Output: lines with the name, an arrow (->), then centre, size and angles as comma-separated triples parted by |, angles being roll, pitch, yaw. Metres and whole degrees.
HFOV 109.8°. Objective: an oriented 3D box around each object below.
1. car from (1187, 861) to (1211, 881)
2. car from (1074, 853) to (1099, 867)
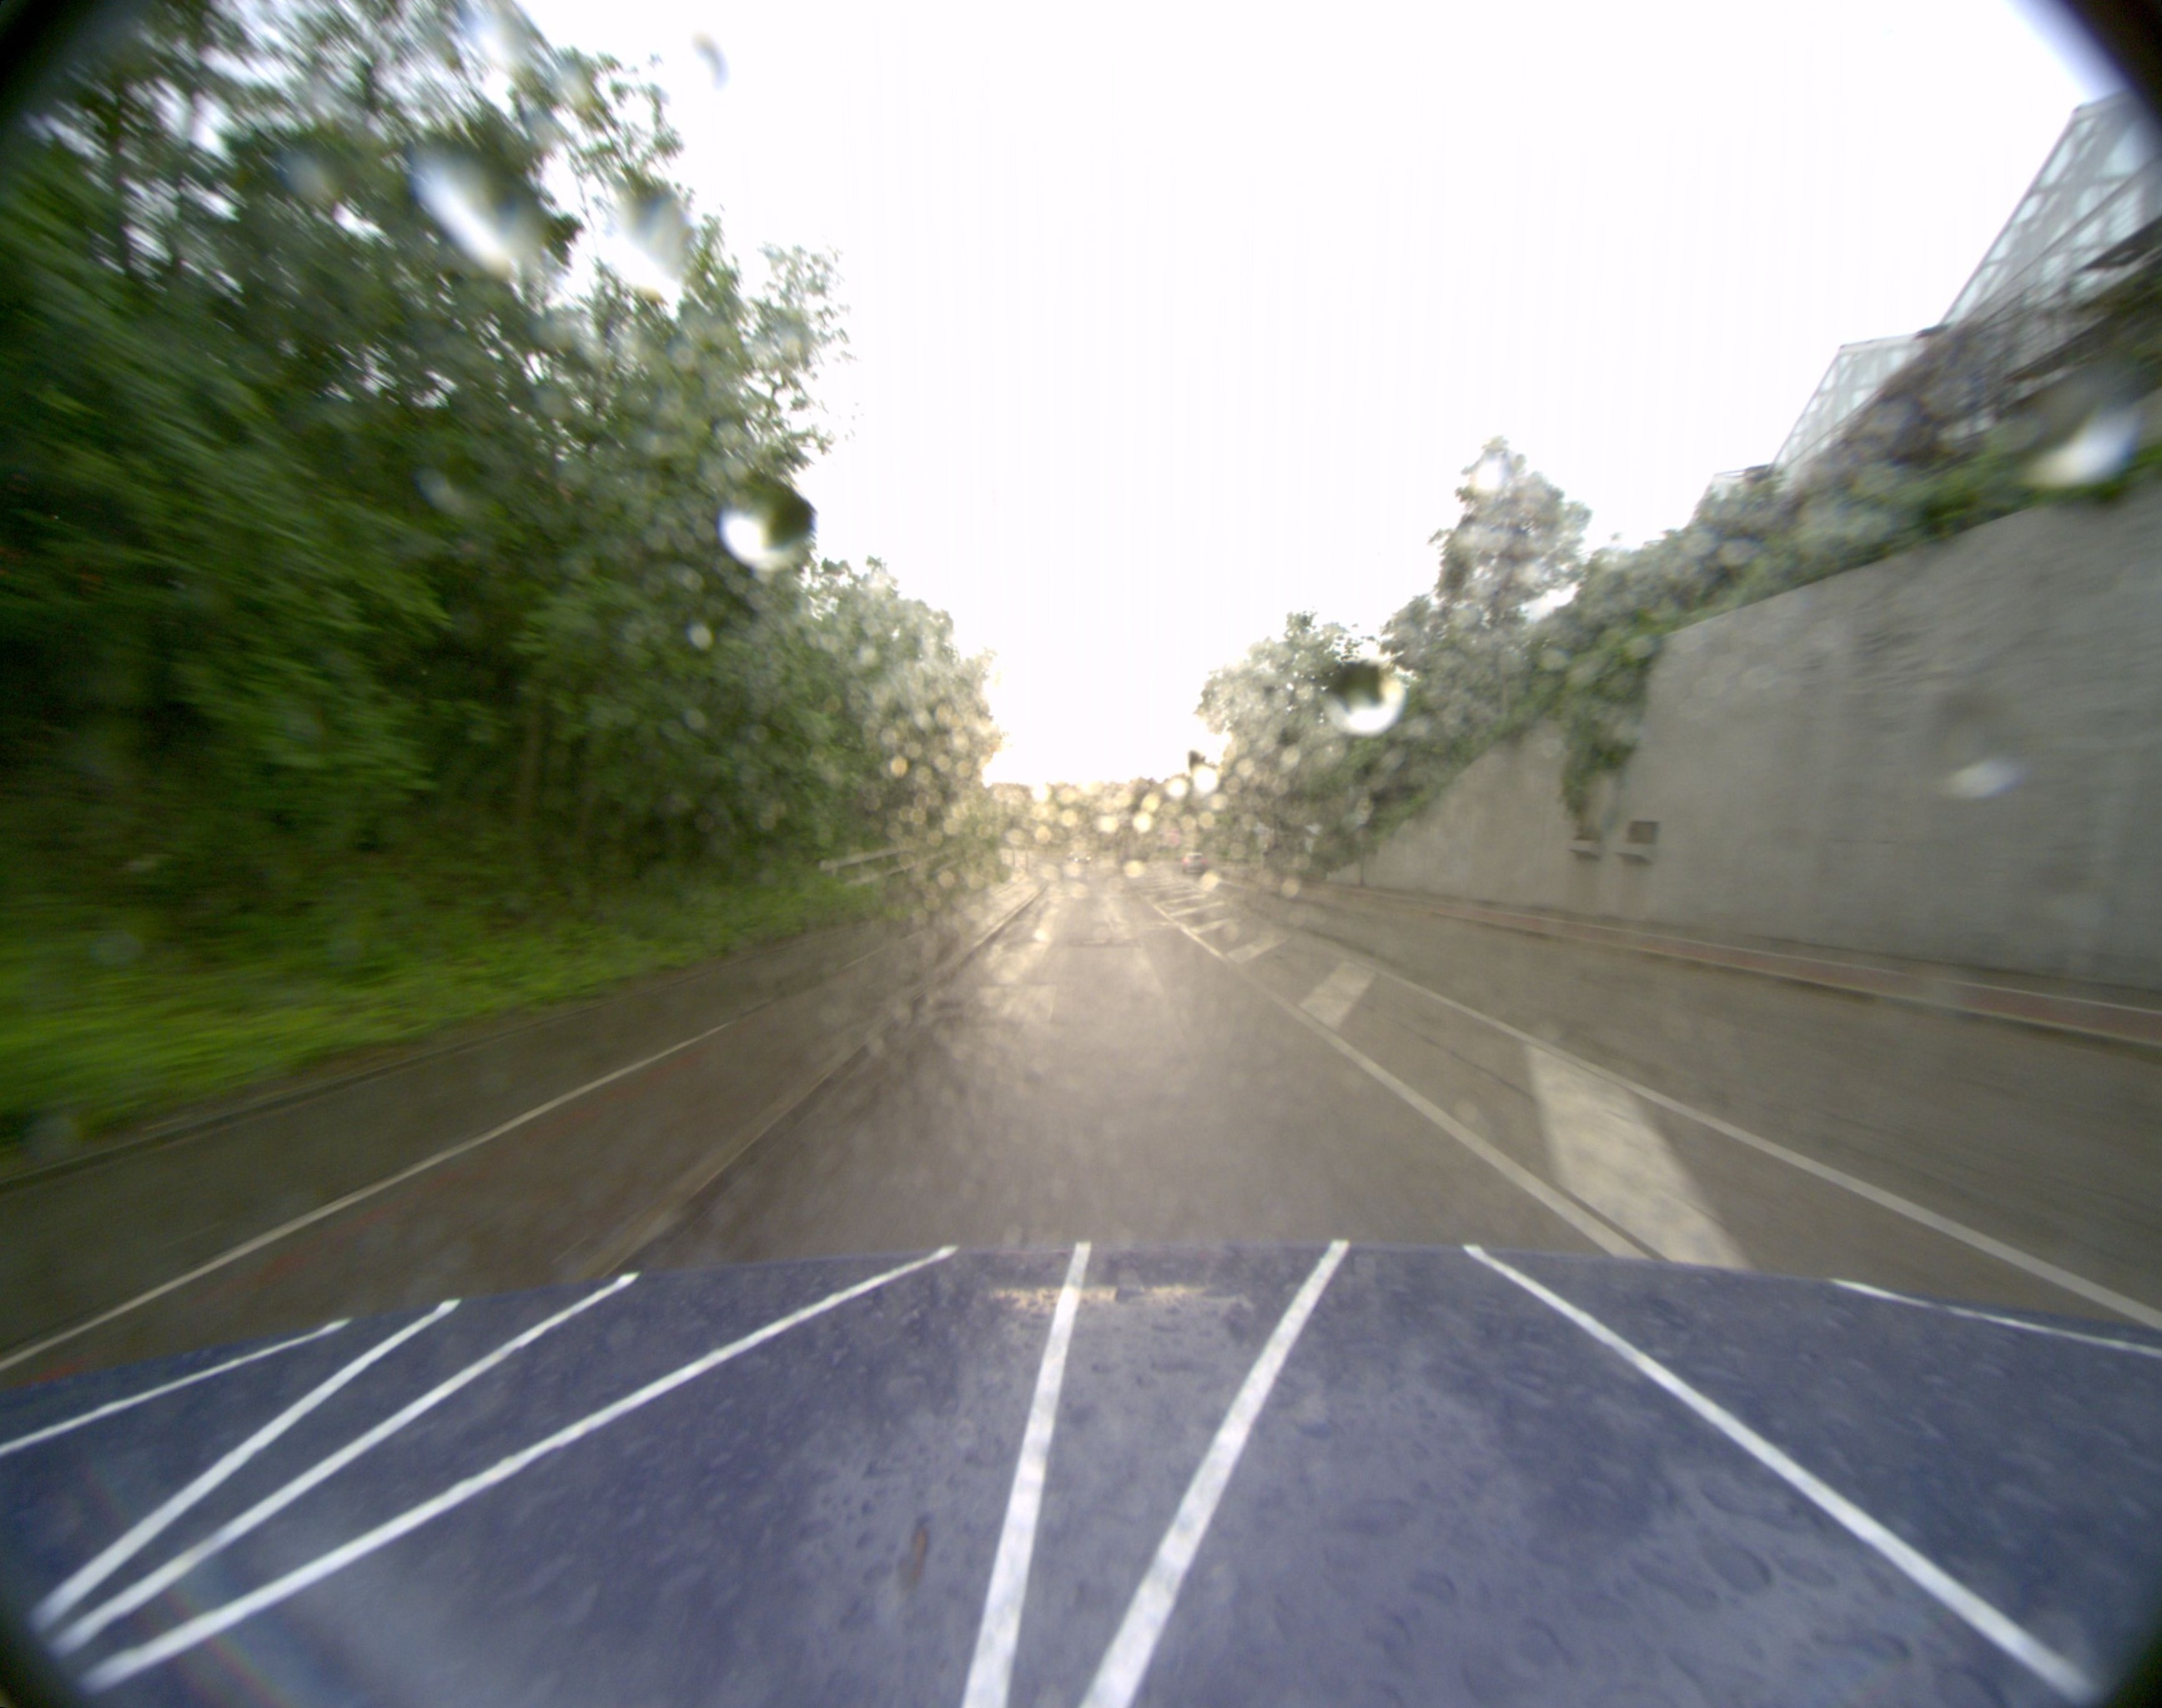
car -> 8.861, 1.233, 57.122 | 1.515, 1.440, 3.820 | 1, 0, 12
car -> 0.607, 0.641, 82.634 | 1.761, 1.387, 3.995 | 1, 0, -14
